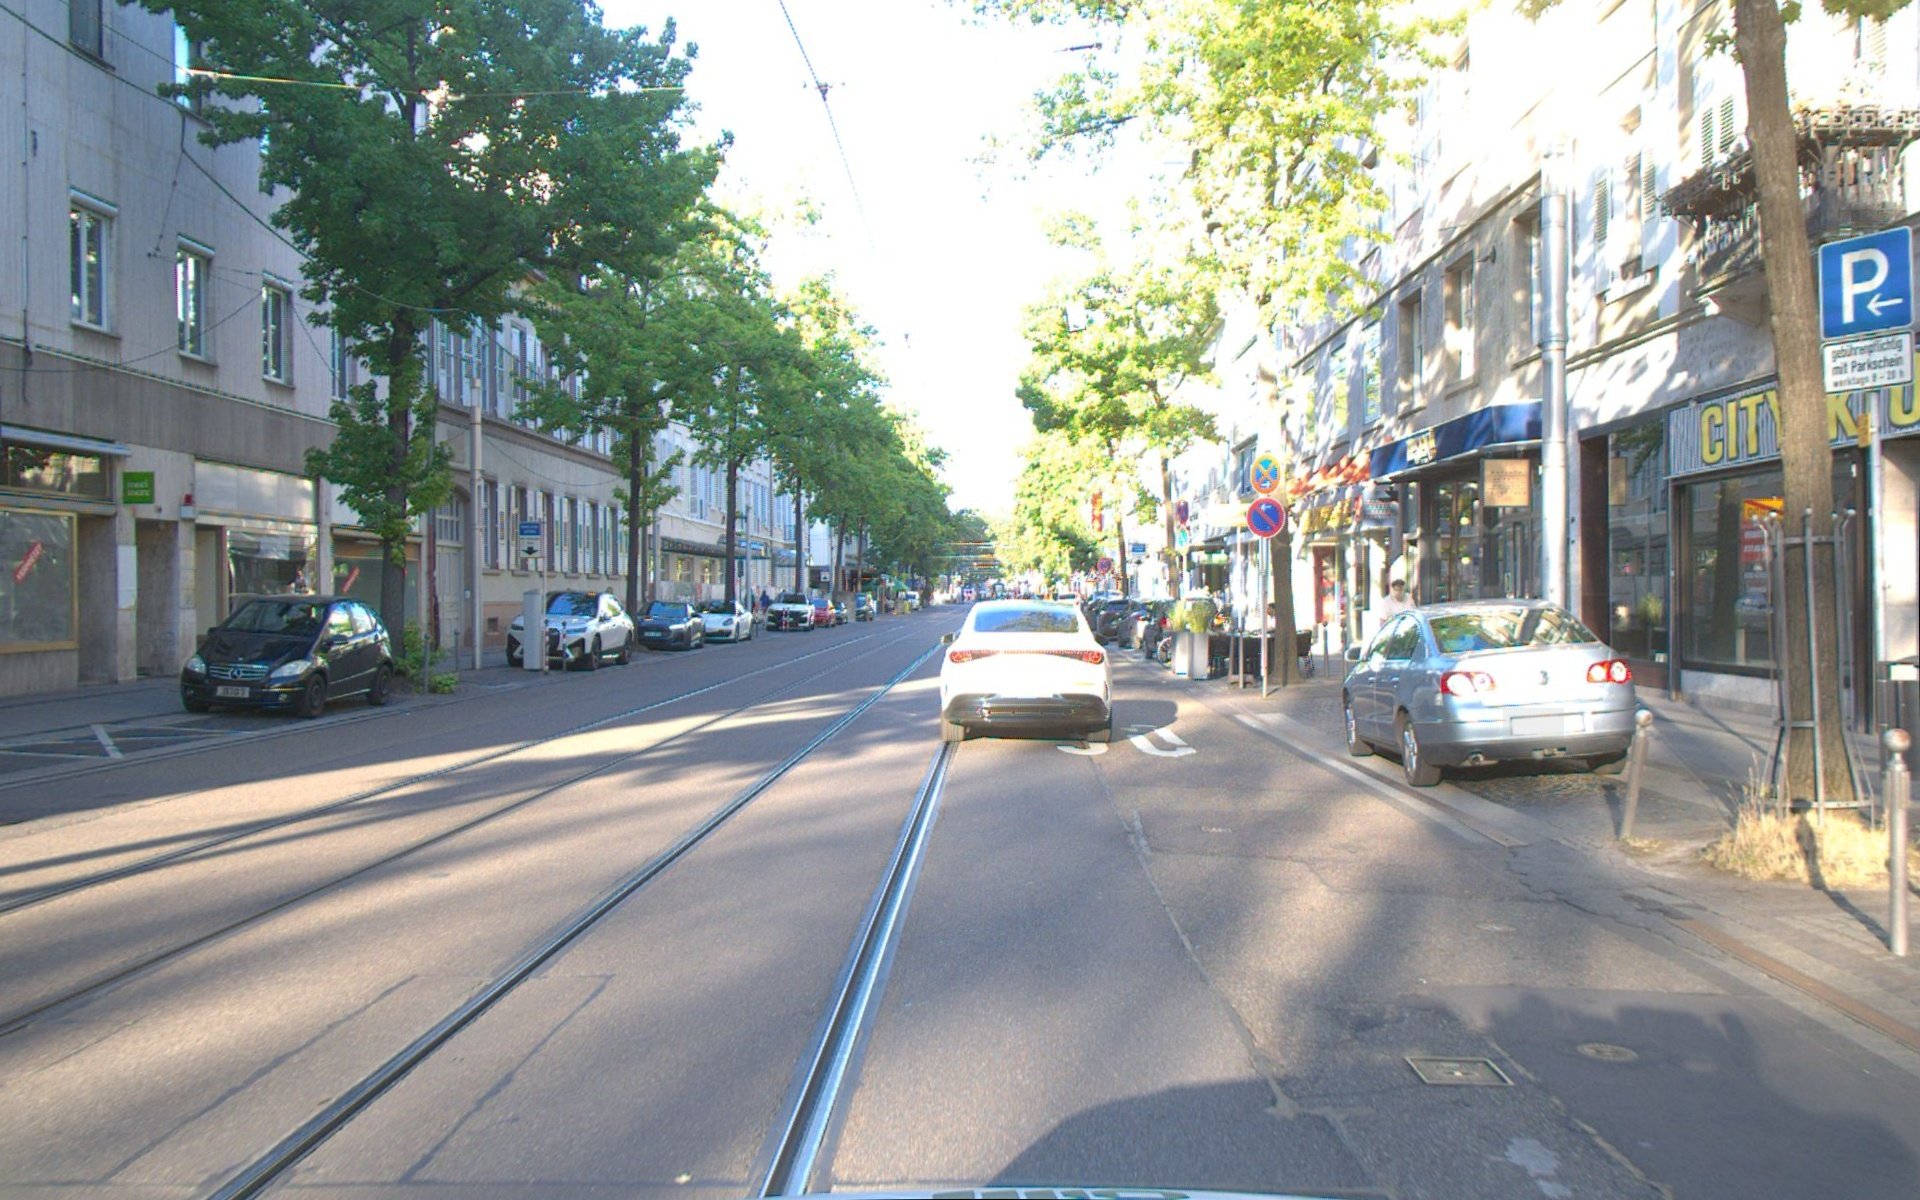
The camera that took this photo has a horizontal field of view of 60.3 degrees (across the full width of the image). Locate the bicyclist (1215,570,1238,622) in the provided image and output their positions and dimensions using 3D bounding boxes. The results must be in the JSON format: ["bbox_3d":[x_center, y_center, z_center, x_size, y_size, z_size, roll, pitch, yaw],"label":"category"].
[{"bbox_3d":[9.016,-0.130,55.910,0.626,1.713,0.600,-2,0,0],"label":"bicyclist"}]

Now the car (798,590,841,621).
[{"bbox_3d":[-7.287,0.281,85.832,1.653,1.525,4.235,-1,0,3],"label":"car"}]

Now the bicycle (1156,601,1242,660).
[{"bbox_3d":[5.132,0.663,35.481,1.691,1.158,0.546,-3,-1,22],"label":"bicycle"}]

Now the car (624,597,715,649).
[{"bbox_3d":[-8.654,0.658,49.619,1.922,1.437,4.845,-1,0,-1],"label":"car"}]

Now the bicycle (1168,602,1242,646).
[{"bbox_3d":[6.527,0.639,44.092,1.821,1.093,0.711,-2,0,-8],"label":"bicycle"}]

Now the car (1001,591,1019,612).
[{"bbox_3d":[6.269,0.197,208.329,1.954,2.586,3.997,-1,0,-3],"label":"car"}]

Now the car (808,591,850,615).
[{"bbox_3d":[-7.427,0.169,94.014,1.952,1.314,4.001,-1,0,1],"label":"car"}]

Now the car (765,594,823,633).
[{"bbox_3d":[-7.591,0.582,75.949,1.921,1.721,5.015,-1,0,3],"label":"car"}]

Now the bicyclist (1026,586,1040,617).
[{"bbox_3d":[4.104,0.077,93.280,0.709,1.732,0.811,-1,0,2],"label":"bicyclist"}]

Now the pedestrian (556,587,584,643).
[{"bbox_3d":[-11.985,0.455,50.874,0.660,1.709,0.648,-2,0,1],"label":"pedestrian"}]

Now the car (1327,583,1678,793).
[{"bbox_3d":[4.622,0.672,14.817,1.739,1.465,4.423,-4,0,2],"label":"car"}]

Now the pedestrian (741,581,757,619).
[{"bbox_3d":[-10.428,-0.008,81.934,0.693,1.838,0.675,-2,0,-4],"label":"pedestrian"}]

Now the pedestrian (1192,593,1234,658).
[{"bbox_3d":[5.152,0.511,33.734,0.800,1.287,0.587,-2,0,7],"label":"pedestrian"}]

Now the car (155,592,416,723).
[{"bbox_3d":[-9.517,0.745,23.705,1.921,1.668,4.001,1,0,3],"label":"car"}]

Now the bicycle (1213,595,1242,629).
[{"bbox_3d":[9.031,0.389,55.835,0.634,1.093,1.861,-2,0,0],"label":"bicycle"}]

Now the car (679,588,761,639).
[{"bbox_3d":[-8.299,0.434,57.568,1.906,1.668,4.911,-1,0,3],"label":"car"}]

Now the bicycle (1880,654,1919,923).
[{"bbox_3d":[5.121,0.782,7.198,1.827,1.174,0.562,-4,0,3],"label":"bicycle"}]

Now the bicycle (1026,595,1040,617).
[{"bbox_3d":[4.106,0.321,93.242,0.725,1.209,2.161,-2,0,2],"label":"bicycle"}]

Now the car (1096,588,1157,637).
[{"bbox_3d":[5.652,0.390,56.539,1.832,1.478,4.108,-4,0,3],"label":"car"}]

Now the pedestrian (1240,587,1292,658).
[{"bbox_3d":[6.224,0.448,33.616,0.702,1.411,0.738,-2,0,-36],"label":"pedestrian"}]

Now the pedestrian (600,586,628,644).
[{"bbox_3d":[-10.623,0.458,50.829,0.672,1.751,0.656,-1,0,2],"label":"pedestrian"}]

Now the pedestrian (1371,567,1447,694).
[{"bbox_3d":[6.120,0.404,22.566,0.786,1.671,0.756,-2,0,1],"label":"pedestrian"}]

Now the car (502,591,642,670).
[{"bbox_3d":[-8.891,0.648,38.294,1.921,1.668,4.813,1,0,2],"label":"car"}]

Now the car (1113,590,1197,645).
[{"bbox_3d":[5.692,0.480,48.673,1.778,1.512,3.997,-1,0,-4],"label":"car"}]

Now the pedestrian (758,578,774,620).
[{"bbox_3d":[-9.610,-0.054,81.811,0.693,2.039,0.675,-2,0,-4],"label":"pedestrian"}]

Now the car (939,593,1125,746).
[{"bbox_3d":[0.820,0.677,18.380,1.829,1.494,4.044,0,0,3],"label":"car"}]

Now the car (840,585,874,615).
[{"bbox_3d":[-6.688,-0.008,107.664,1.519,1.827,3.170,-2,0,10],"label":"car"}]

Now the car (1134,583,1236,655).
[{"bbox_3d":[5.322,0.439,39.549,1.764,1.483,3.654,-5,0,-1],"label":"car"}]

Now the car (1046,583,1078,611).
[{"bbox_3d":[6.837,-0.224,111.067,1.952,1.758,4.242,-2,0,2],"label":"car"}]
